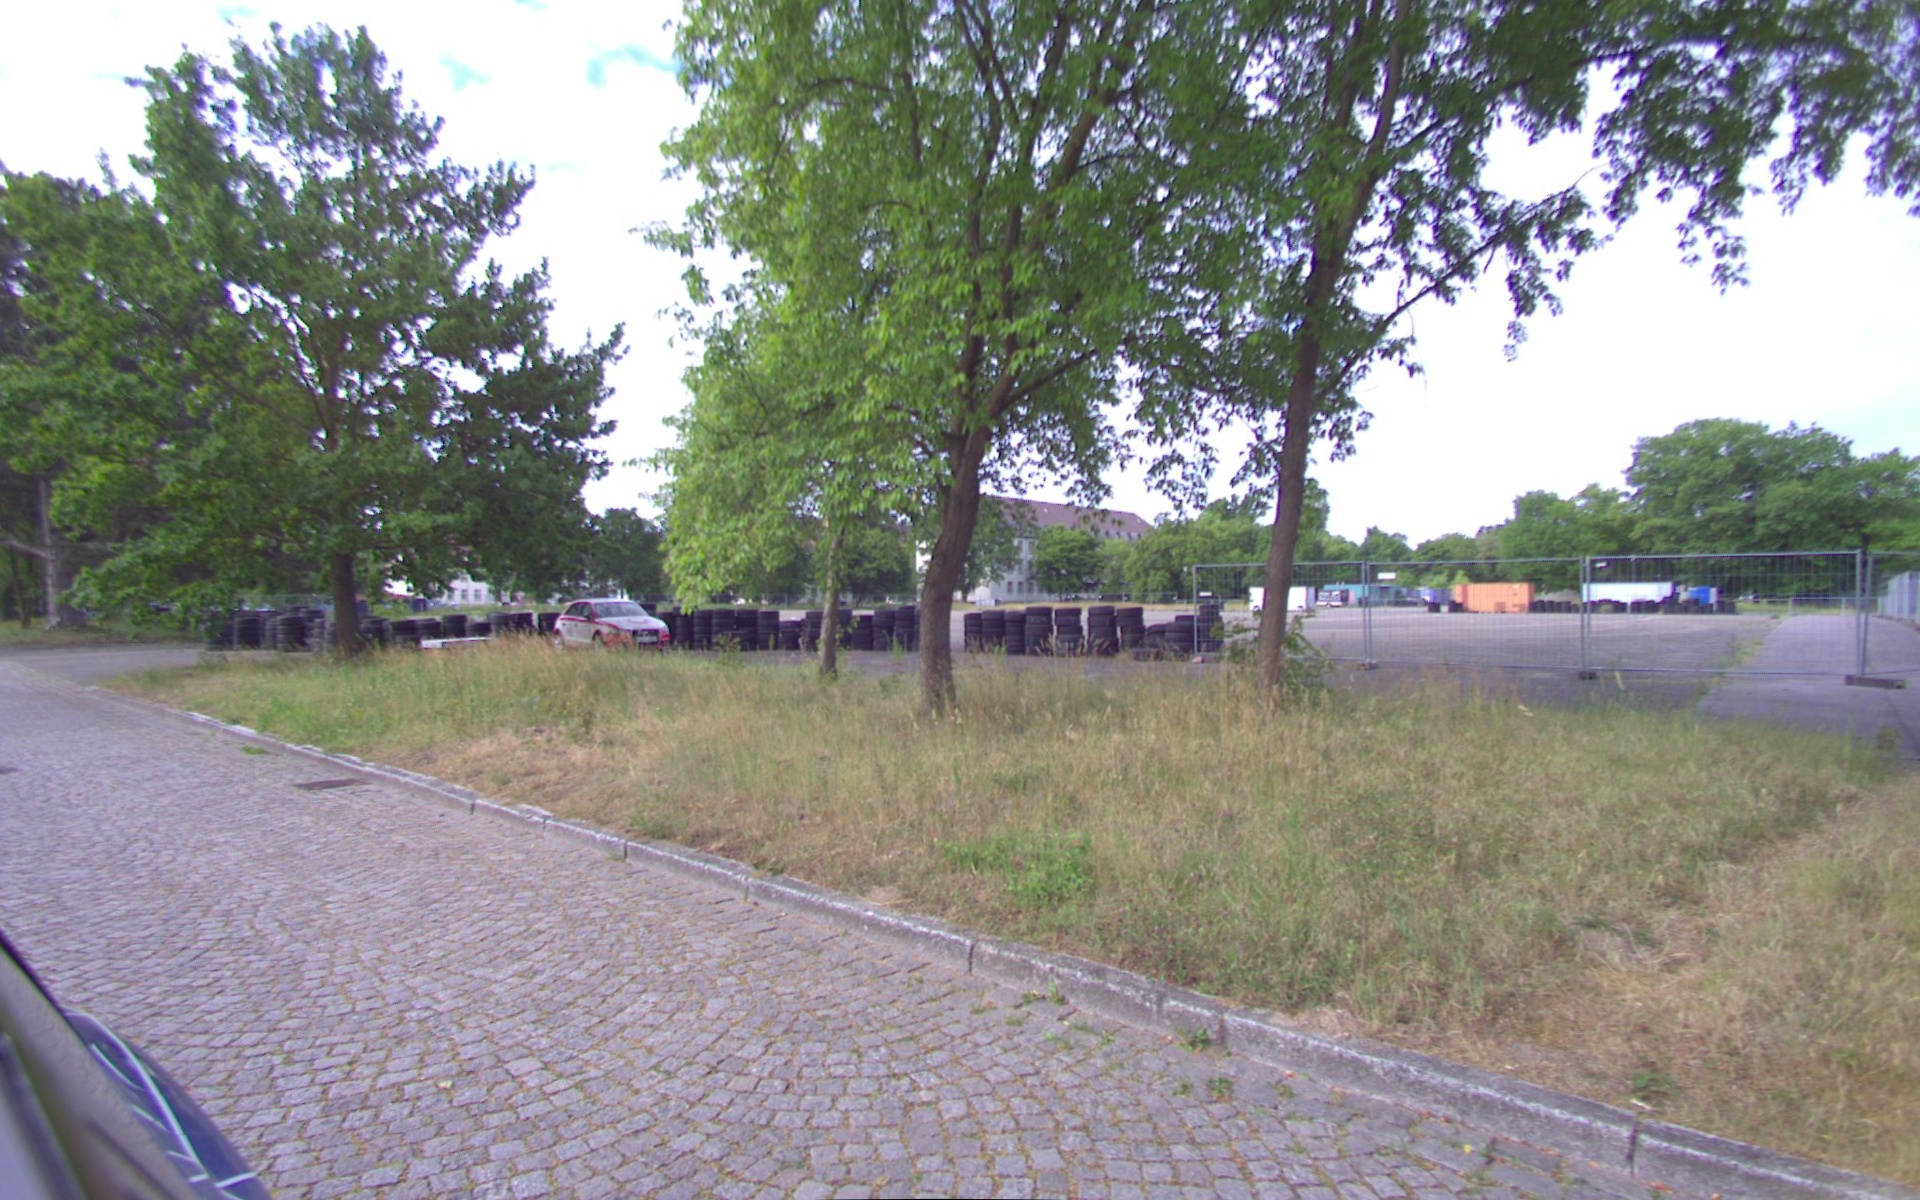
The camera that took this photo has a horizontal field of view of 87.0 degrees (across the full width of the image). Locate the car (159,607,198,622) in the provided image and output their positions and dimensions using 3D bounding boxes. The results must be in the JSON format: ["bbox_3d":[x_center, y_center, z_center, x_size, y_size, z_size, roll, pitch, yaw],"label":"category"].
[{"bbox_3d":[-77.493,1.398,100.331,4.446,1.460,1.975,-1,0,38],"label":"car"}]

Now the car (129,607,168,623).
[{"bbox_3d":[-78.736,1.425,98.130,4.446,1.460,1.975,-1,0,38],"label":"car"}]

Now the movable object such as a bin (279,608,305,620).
[{"bbox_3d":[-64.173,1.361,97.200,2.712,1.079,1.046,-1,0,33],"label":"movable object such as a bin"}]

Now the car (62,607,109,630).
[{"bbox_3d":[-56.907,1.194,65.853,3.719,1.421,1.649,-1,0,39],"label":"car"}]

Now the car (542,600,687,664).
[{"bbox_3d":[-8.615,0.747,25.039,1.802,1.442,4.223,0,0,-43],"label":"car"}]
